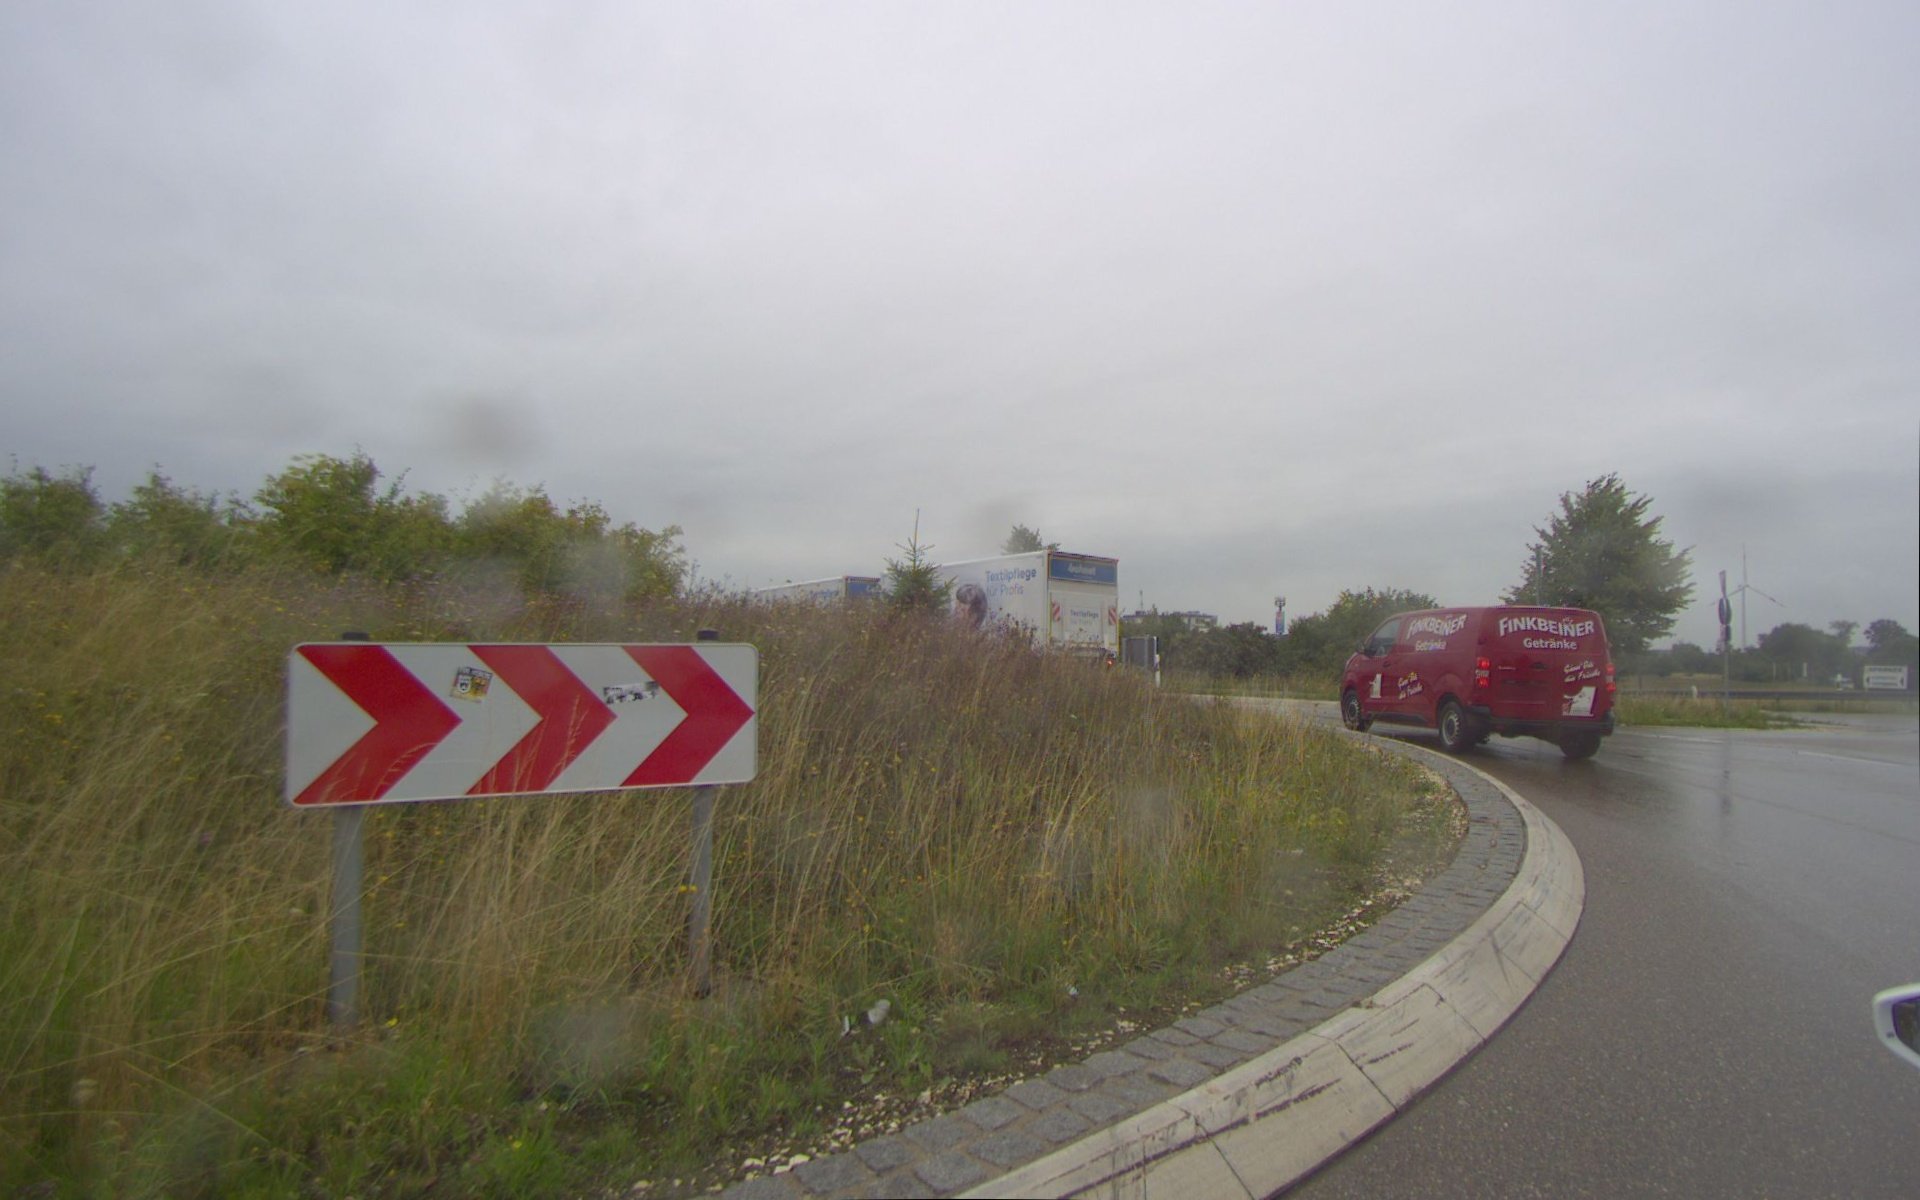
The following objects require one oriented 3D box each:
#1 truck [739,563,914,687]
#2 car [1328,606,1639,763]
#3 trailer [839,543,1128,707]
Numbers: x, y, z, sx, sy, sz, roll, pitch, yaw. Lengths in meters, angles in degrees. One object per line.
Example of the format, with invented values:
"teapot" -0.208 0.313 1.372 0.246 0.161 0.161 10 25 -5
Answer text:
"truck" -4.898 0.931 35.348 2.782 3.869 7.611 2 -3 -36
"car" 7.274 1.100 14.708 1.960 1.895 4.979 0 -2 0
"trailer" 0.256 0.760 28.475 2.816 3.869 9.611 2 -3 -37
